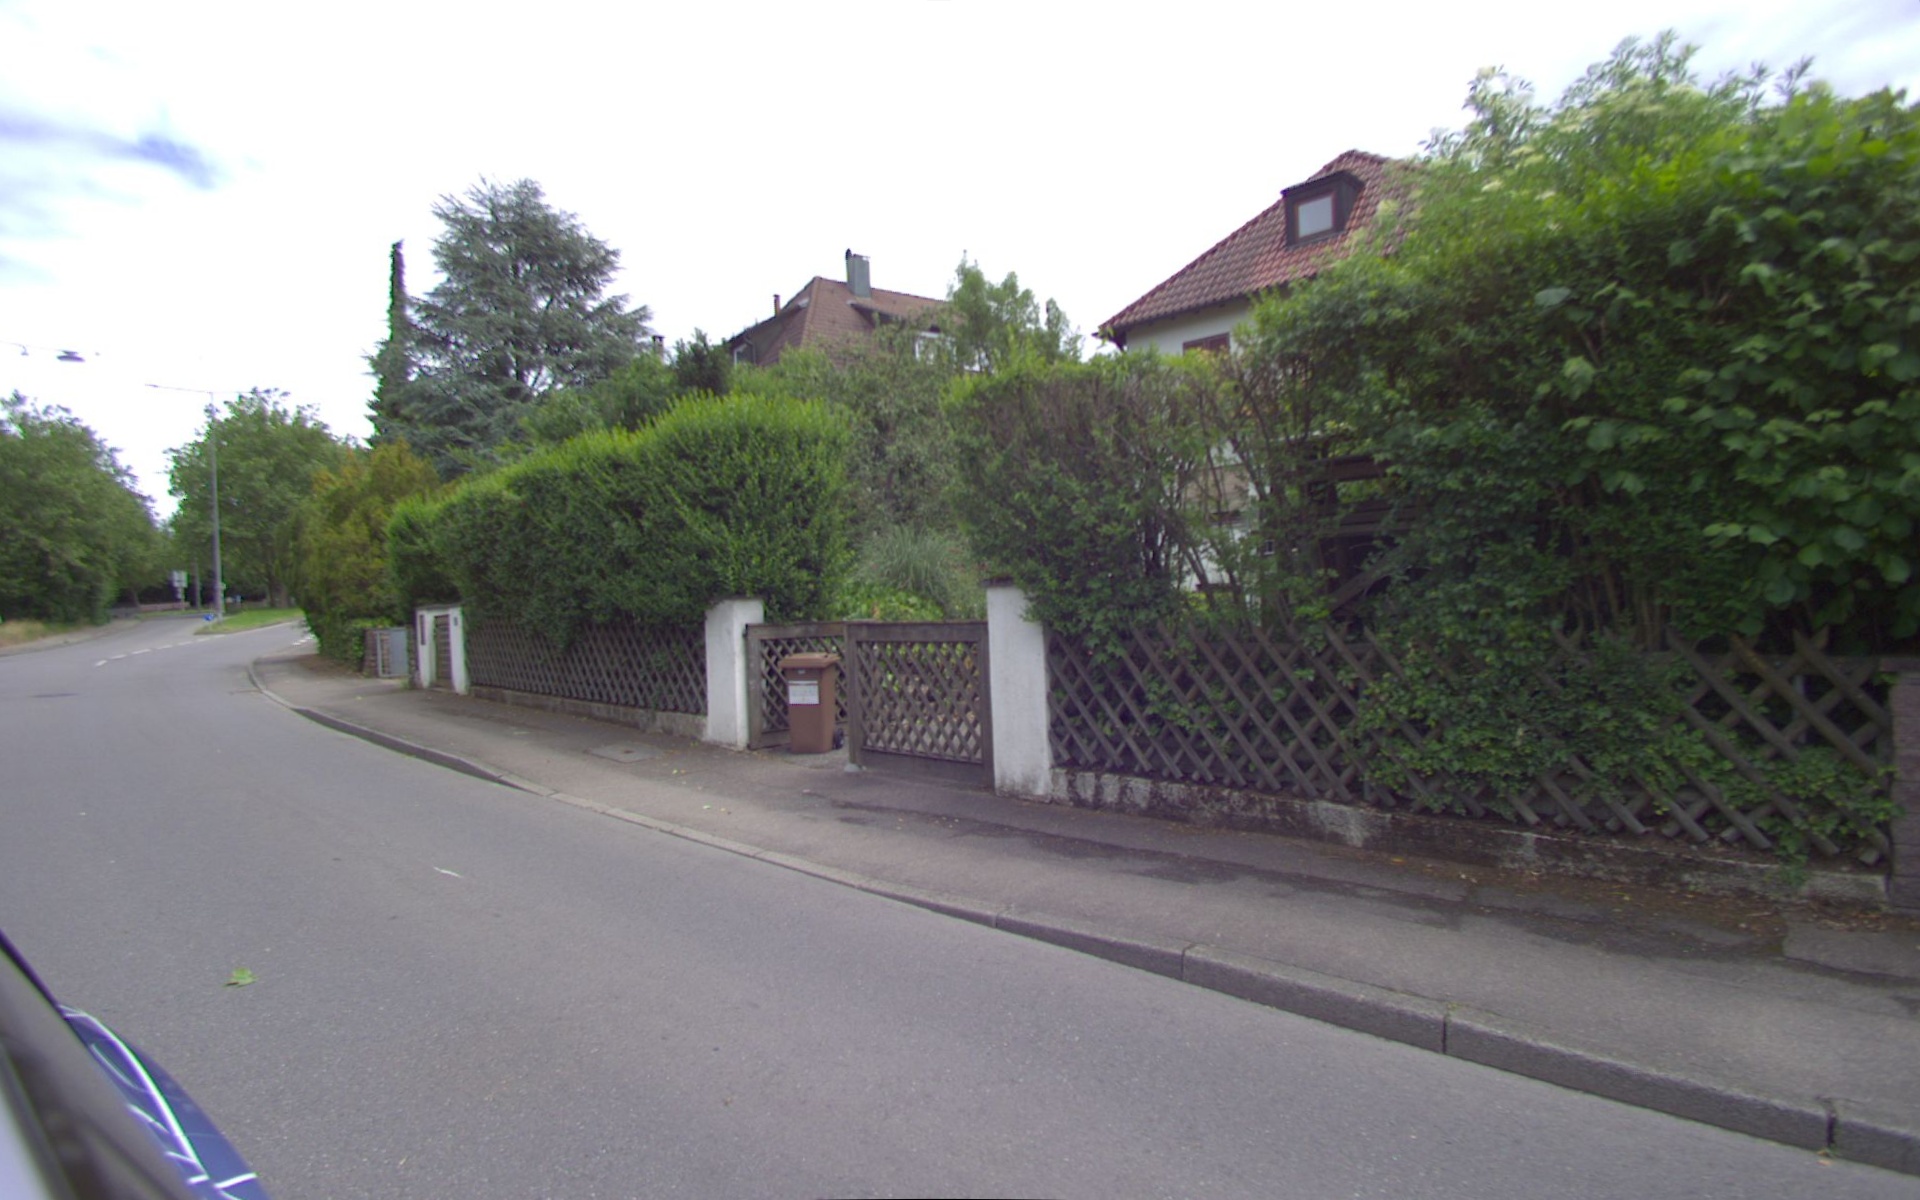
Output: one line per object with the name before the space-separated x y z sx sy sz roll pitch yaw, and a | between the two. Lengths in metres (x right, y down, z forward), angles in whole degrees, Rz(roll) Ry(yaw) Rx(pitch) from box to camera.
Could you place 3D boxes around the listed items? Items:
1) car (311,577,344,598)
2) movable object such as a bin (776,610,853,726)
car | -56.042 -1.142 89.728 1.732 1.603 4.630 -4 5 -23
movable object such as a bin | -1.356 0.626 9.459 0.497 1.039 0.444 -3 0 27
